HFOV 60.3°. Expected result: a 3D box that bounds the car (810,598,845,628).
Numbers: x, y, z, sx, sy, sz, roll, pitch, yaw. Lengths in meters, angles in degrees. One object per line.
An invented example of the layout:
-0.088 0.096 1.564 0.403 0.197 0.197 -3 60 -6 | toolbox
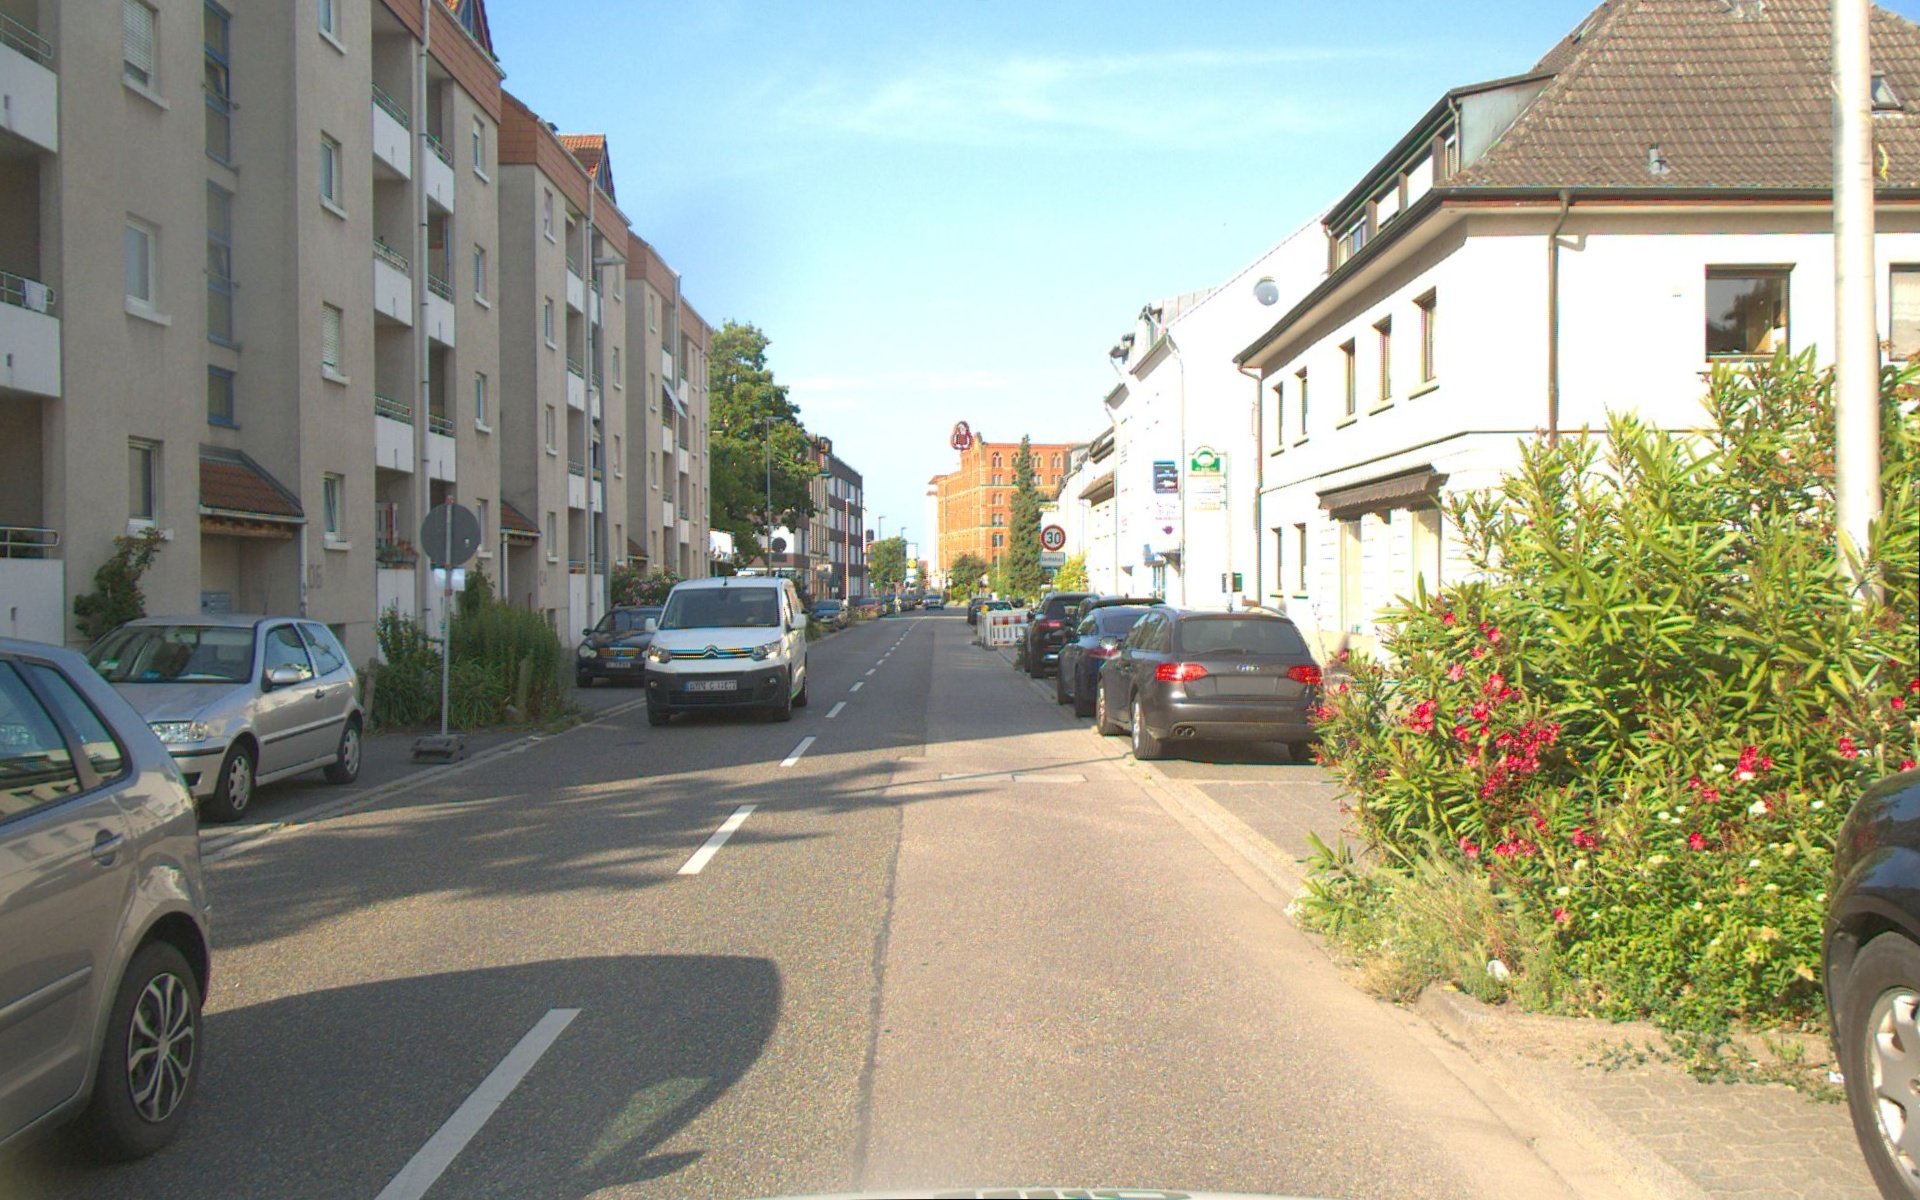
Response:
-6.673 0.648 83.734 1.541 1.445 3.803 0 0 -1 | car

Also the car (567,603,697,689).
-5.923 0.794 30.263 1.652 1.430 4.082 0 0 -2 | car

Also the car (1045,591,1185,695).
2.534 0.659 27.994 1.793 1.587 4.315 -1 0 -2 | car

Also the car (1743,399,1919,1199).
3.127 0.488 2.209 2.033 1.888 4.611 -2 1 1 | car

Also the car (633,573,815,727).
-2.985 0.575 21.787 1.883 1.798 4.336 -1 0 -2 | car

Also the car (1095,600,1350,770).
2.489 0.745 16.775 1.743 1.445 4.494 0 0 -2 | car

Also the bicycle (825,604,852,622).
-7.150 0.775 97.282 1.554 1.059 0.707 0 0 -6 | bicycle

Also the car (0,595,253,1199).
-2.880 0.755 3.116 1.585 1.480 3.684 -1 0 -2 | car

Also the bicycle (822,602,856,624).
-6.999 0.764 95.711 1.962 1.238 0.707 0 0 -6 | bicycle

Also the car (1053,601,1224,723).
2.328 0.763 22.666 1.792 1.445 4.608 0 0 -1 | car

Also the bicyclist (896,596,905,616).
-4.423 0.424 122.775 0.578 1.467 0.751 0 0 1 | bicyclist

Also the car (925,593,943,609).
-2.672 0.093 170.500 1.728 1.644 3.999 -1 0 -1 | car

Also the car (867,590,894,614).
-6.626 0.196 138.142 1.953 1.945 3.689 -1 0 0 | car

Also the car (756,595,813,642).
-6.253 0.639 59.256 1.652 1.631 4.369 0 0 -1 | car

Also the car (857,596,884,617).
-6.615 0.478 122.242 1.802 1.489 3.584 0 0 0 | car

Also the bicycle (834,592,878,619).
-7.080 0.353 112.529 2.858 1.808 1.202 -1 0 0 | bicycle

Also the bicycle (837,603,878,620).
-7.090 0.786 114.300 2.716 1.164 1.143 -1 0 0 | bicycle

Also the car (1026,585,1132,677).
2.321 0.641 33.189 1.792 1.659 4.462 2 -1 0 | car

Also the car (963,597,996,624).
1.117 0.598 96.983 1.821 1.497 3.999 1 0 -1 | car

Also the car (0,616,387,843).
-5.745 0.862 12.610 1.607 1.420 3.670 0 0 -2 | car

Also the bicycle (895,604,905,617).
-4.426 0.781 122.718 0.596 0.959 1.811 0 0 2 | bicycle

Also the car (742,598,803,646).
-6.108 0.691 54.159 1.652 1.480 4.139 0 0 -2 | car
